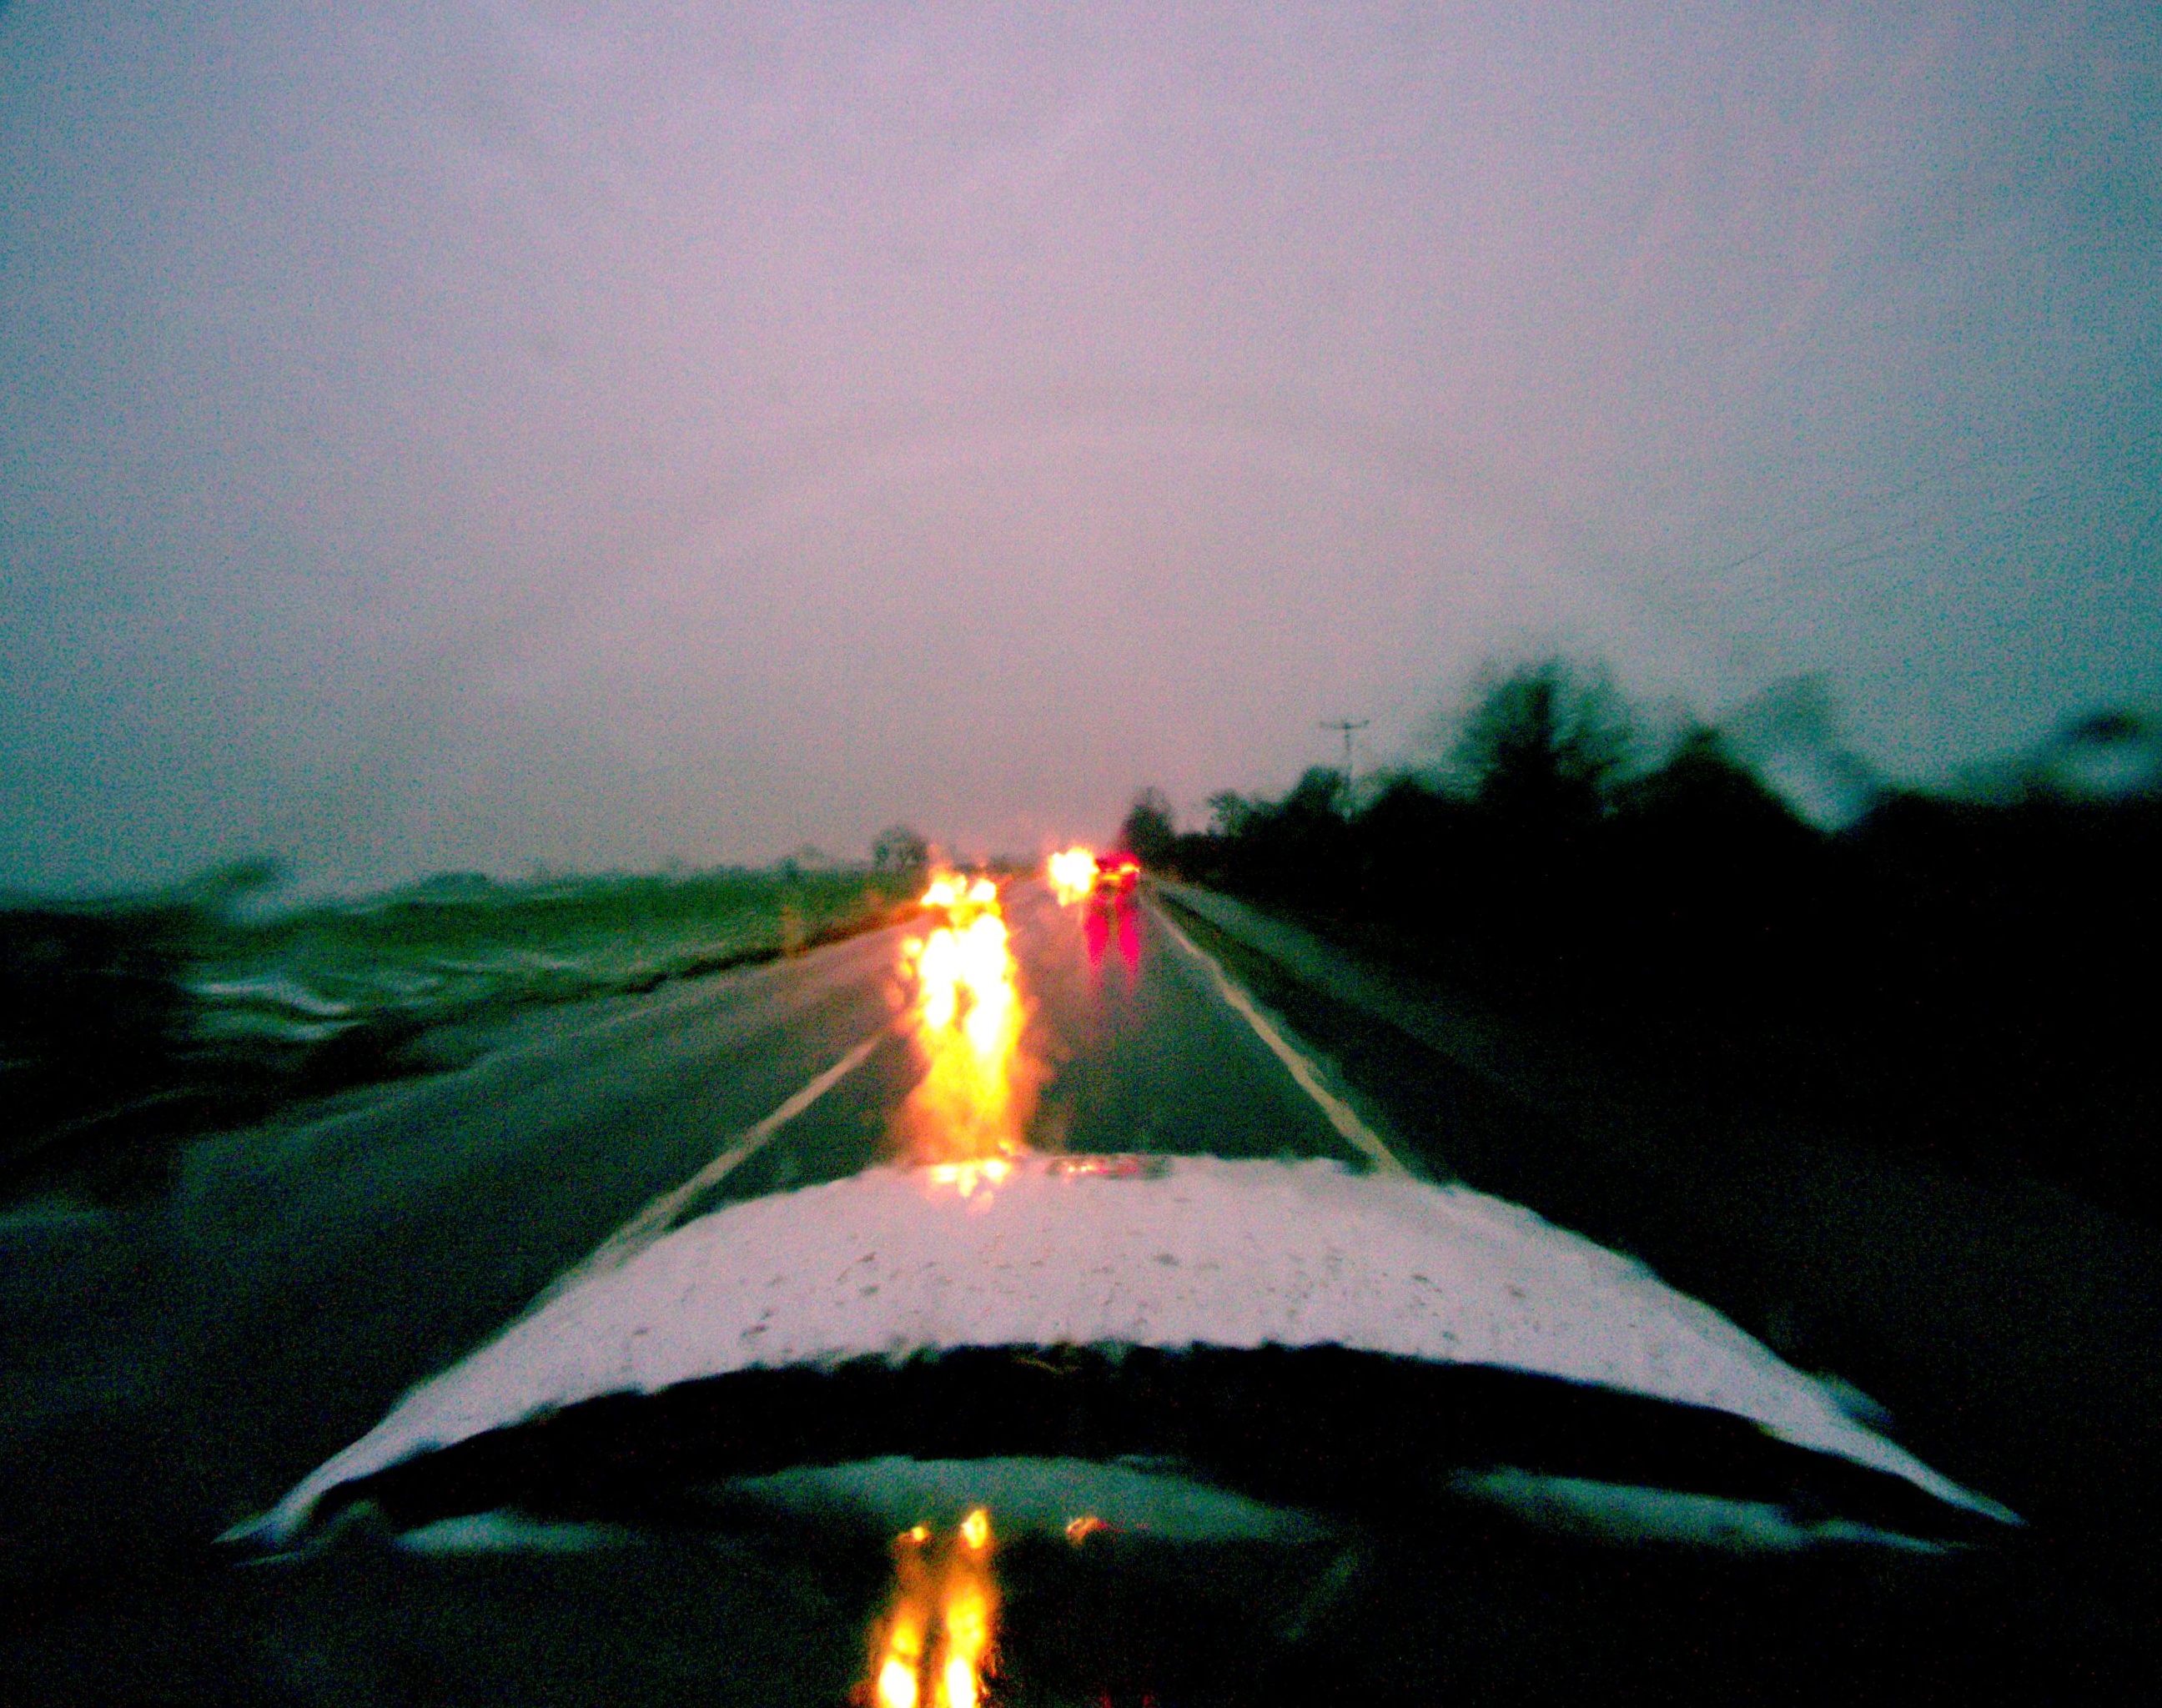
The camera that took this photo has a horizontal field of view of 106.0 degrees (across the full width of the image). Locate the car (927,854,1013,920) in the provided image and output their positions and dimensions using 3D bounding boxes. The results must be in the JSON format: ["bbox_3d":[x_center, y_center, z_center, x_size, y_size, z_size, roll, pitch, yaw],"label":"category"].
[{"bbox_3d":[-3.141,0.900,23.772,1.789,1.686,4.187,-3,-1,1],"label":"car"}]

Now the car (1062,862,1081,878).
[{"bbox_3d":[-0.976,1.712,87.079,1.815,1.561,3.657,-3,-1,2],"label":"car"}]

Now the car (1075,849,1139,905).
[{"bbox_3d":[0.959,0.843,29.570,2.112,1.820,4.981,-1,-2,2],"label":"car"}]
